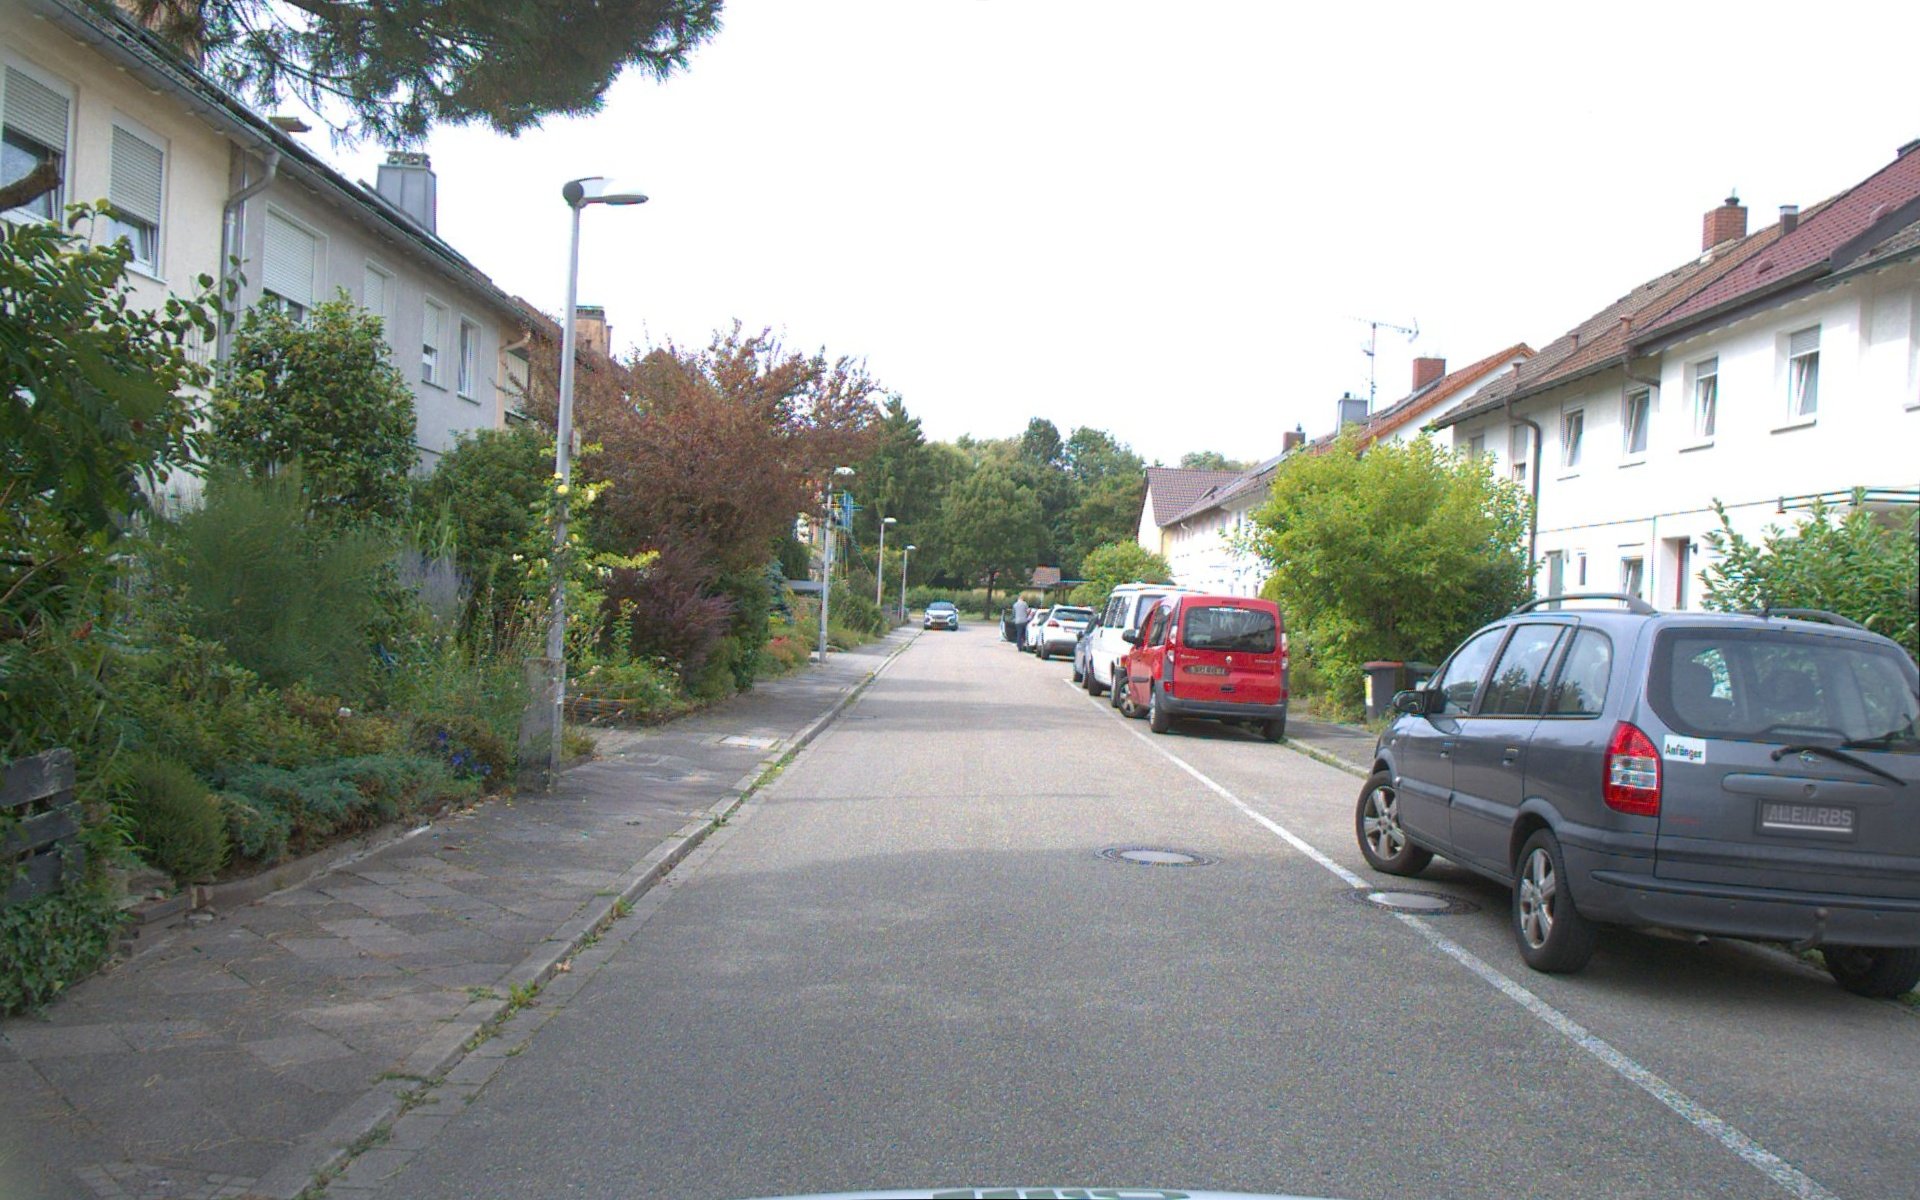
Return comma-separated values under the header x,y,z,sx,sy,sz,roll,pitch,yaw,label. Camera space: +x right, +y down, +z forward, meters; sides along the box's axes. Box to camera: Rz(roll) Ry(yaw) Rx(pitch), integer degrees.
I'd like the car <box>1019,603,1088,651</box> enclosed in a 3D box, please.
x,y,z,sx,sy,sz,roll,pitch,yaw,label
3.062,0.875,55.202,1.801,1.437,4.634,2,0,-3,car

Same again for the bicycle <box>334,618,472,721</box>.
x,y,z,sx,sy,sz,roll,pitch,yaw,label
-5.593,0.672,16.560,1.672,0.908,0.526,3,1,41,bicycle

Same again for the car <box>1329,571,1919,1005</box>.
x,y,z,sx,sy,sz,roll,pitch,yaw,label
3.486,0.757,8.832,1.830,1.682,4.462,2,0,-2,car

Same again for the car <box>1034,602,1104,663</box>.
x,y,z,sx,sy,sz,roll,pitch,yaw,label
3.118,0.896,47.762,1.679,1.570,3.973,4,0,0,car

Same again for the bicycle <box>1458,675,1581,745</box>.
x,y,z,sx,sy,sz,roll,pitch,yaw,label
7.590,1.478,22.420,1.571,0.881,0.738,2,0,-32,bicycle

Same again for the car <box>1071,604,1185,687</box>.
x,y,z,sx,sy,sz,roll,pitch,yaw,label
3.295,0.859,33.104,1.861,1.485,4.129,2,0,0,car

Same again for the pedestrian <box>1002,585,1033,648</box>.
x,y,z,sx,sy,sz,roll,pitch,yaw,label
1.902,0.529,54.979,0.894,2.049,0.950,2,0,-3,pedestrian

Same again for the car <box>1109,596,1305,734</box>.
x,y,z,sx,sy,sz,roll,pitch,yaw,label
3.308,0.810,23.001,1.775,1.679,4.407,2,0,-4,car

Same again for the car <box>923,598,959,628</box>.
x,y,z,sx,sy,sz,roll,pitch,yaw,label
-1.021,0.687,92.440,1.894,1.583,4.634,2,0,0,car

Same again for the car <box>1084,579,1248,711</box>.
x,y,z,sx,sy,sz,roll,pitch,yaw,label
3.373,0.696,28.001,1.980,1.981,4.745,2,0,-2,car

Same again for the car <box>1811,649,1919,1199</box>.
x,y,z,sx,sy,sz,roll,pitch,yaw,label
3.485,0.935,2.391,1.830,1.431,4.765,4,0,-2,car
